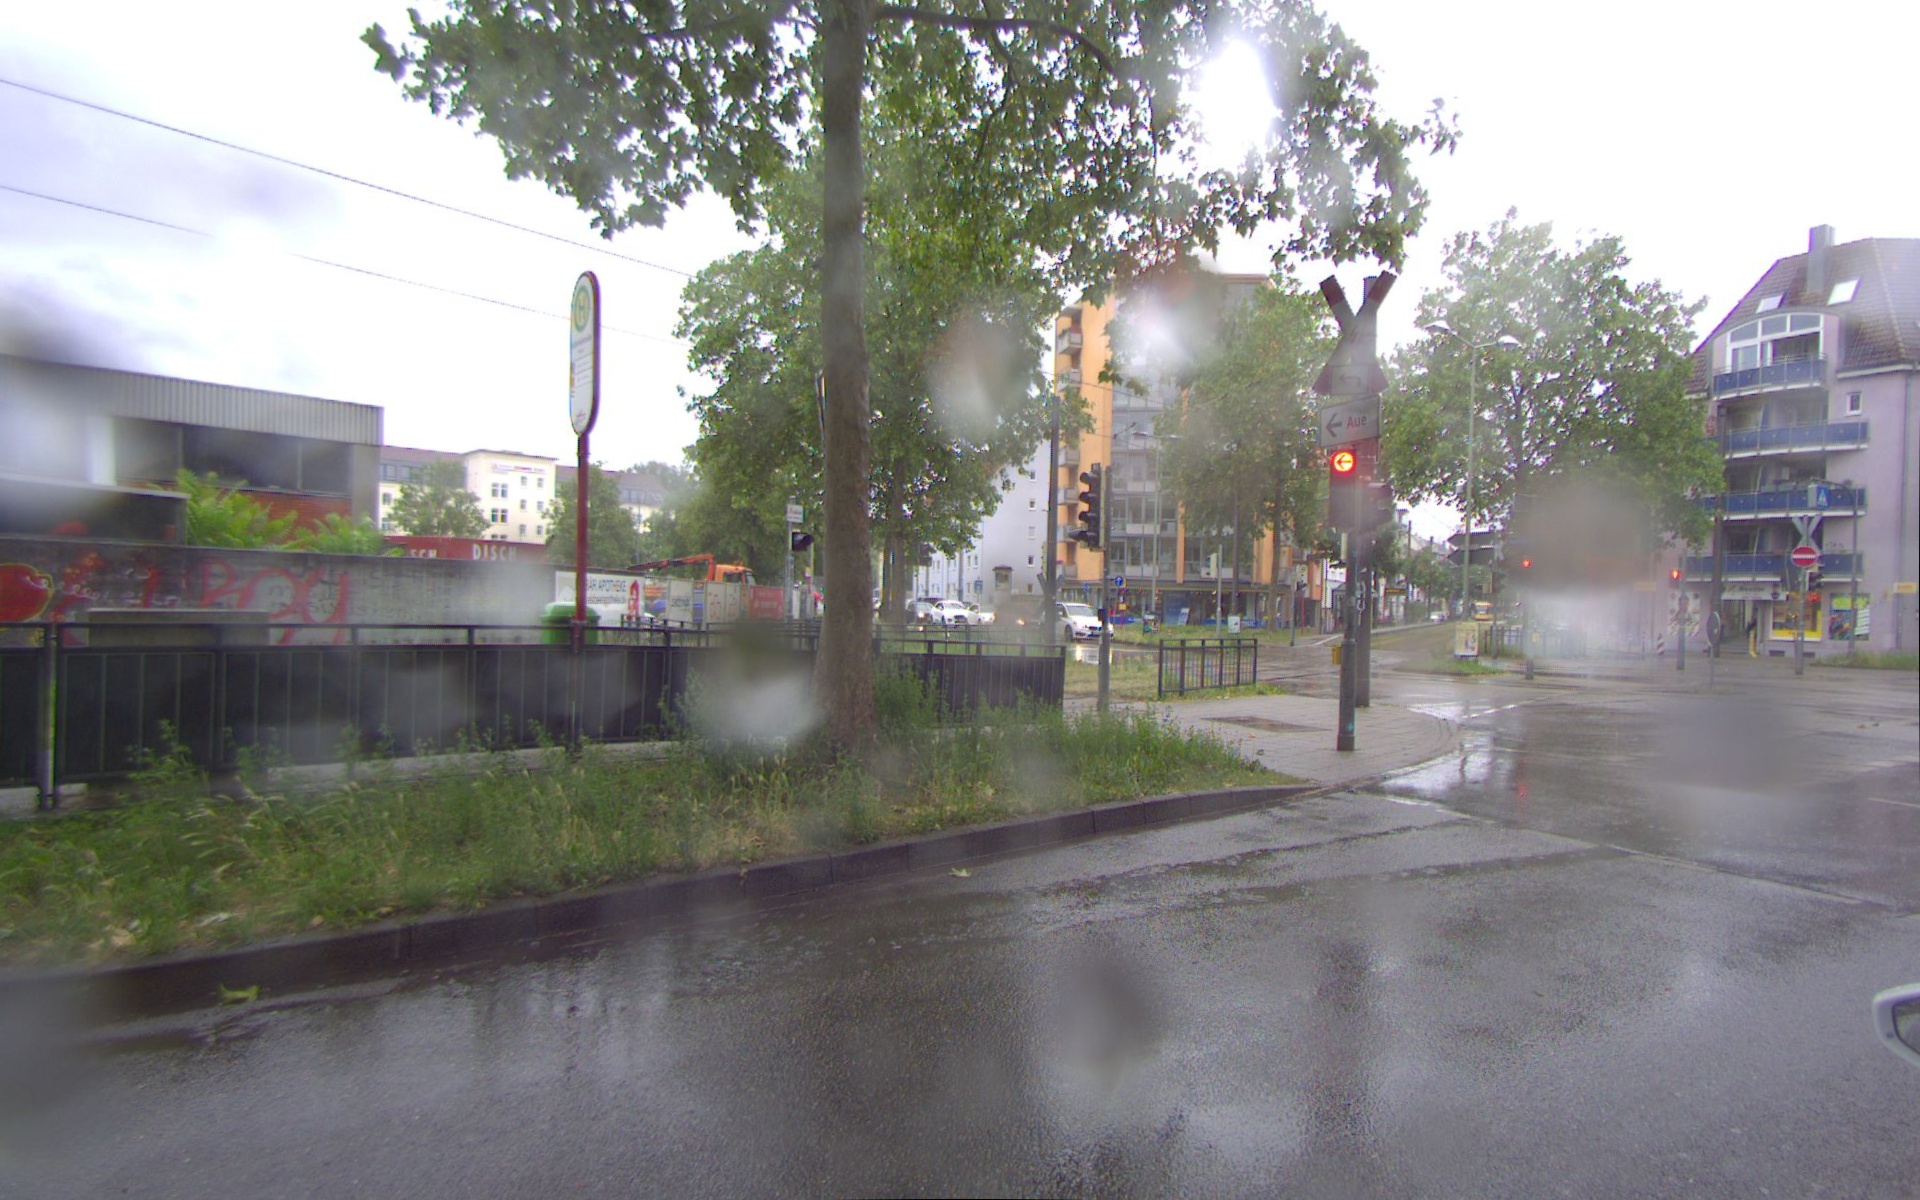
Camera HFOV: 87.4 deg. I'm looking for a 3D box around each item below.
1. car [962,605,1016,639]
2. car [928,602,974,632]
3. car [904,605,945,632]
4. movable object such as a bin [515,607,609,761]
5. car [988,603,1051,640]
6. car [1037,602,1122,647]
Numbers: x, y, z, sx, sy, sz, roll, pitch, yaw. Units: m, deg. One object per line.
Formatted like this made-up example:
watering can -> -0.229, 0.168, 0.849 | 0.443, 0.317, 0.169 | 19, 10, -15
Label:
car -> 1.458, 1.144, 52.391 | 1.697, 1.661, 3.780 | 1, -1, -17
car -> -0.568, 0.979, 58.410 | 1.697, 1.661, 3.780 | 1, -1, -17
car -> -2.303, 1.168, 64.452 | 1.697, 1.661, 3.780 | 1, -1, -17
movable object such as a bin -> -2.989, 0.609, 7.557 | 0.412, 1.104, 0.528 | 0, -1, 44
car -> 2.726, 0.997, 46.545 | 1.697, 1.661, 3.780 | 1, -1, -17
car -> 4.716, 0.980, 40.339 | 1.941, 1.673, 4.004 | 1, -1, -17
